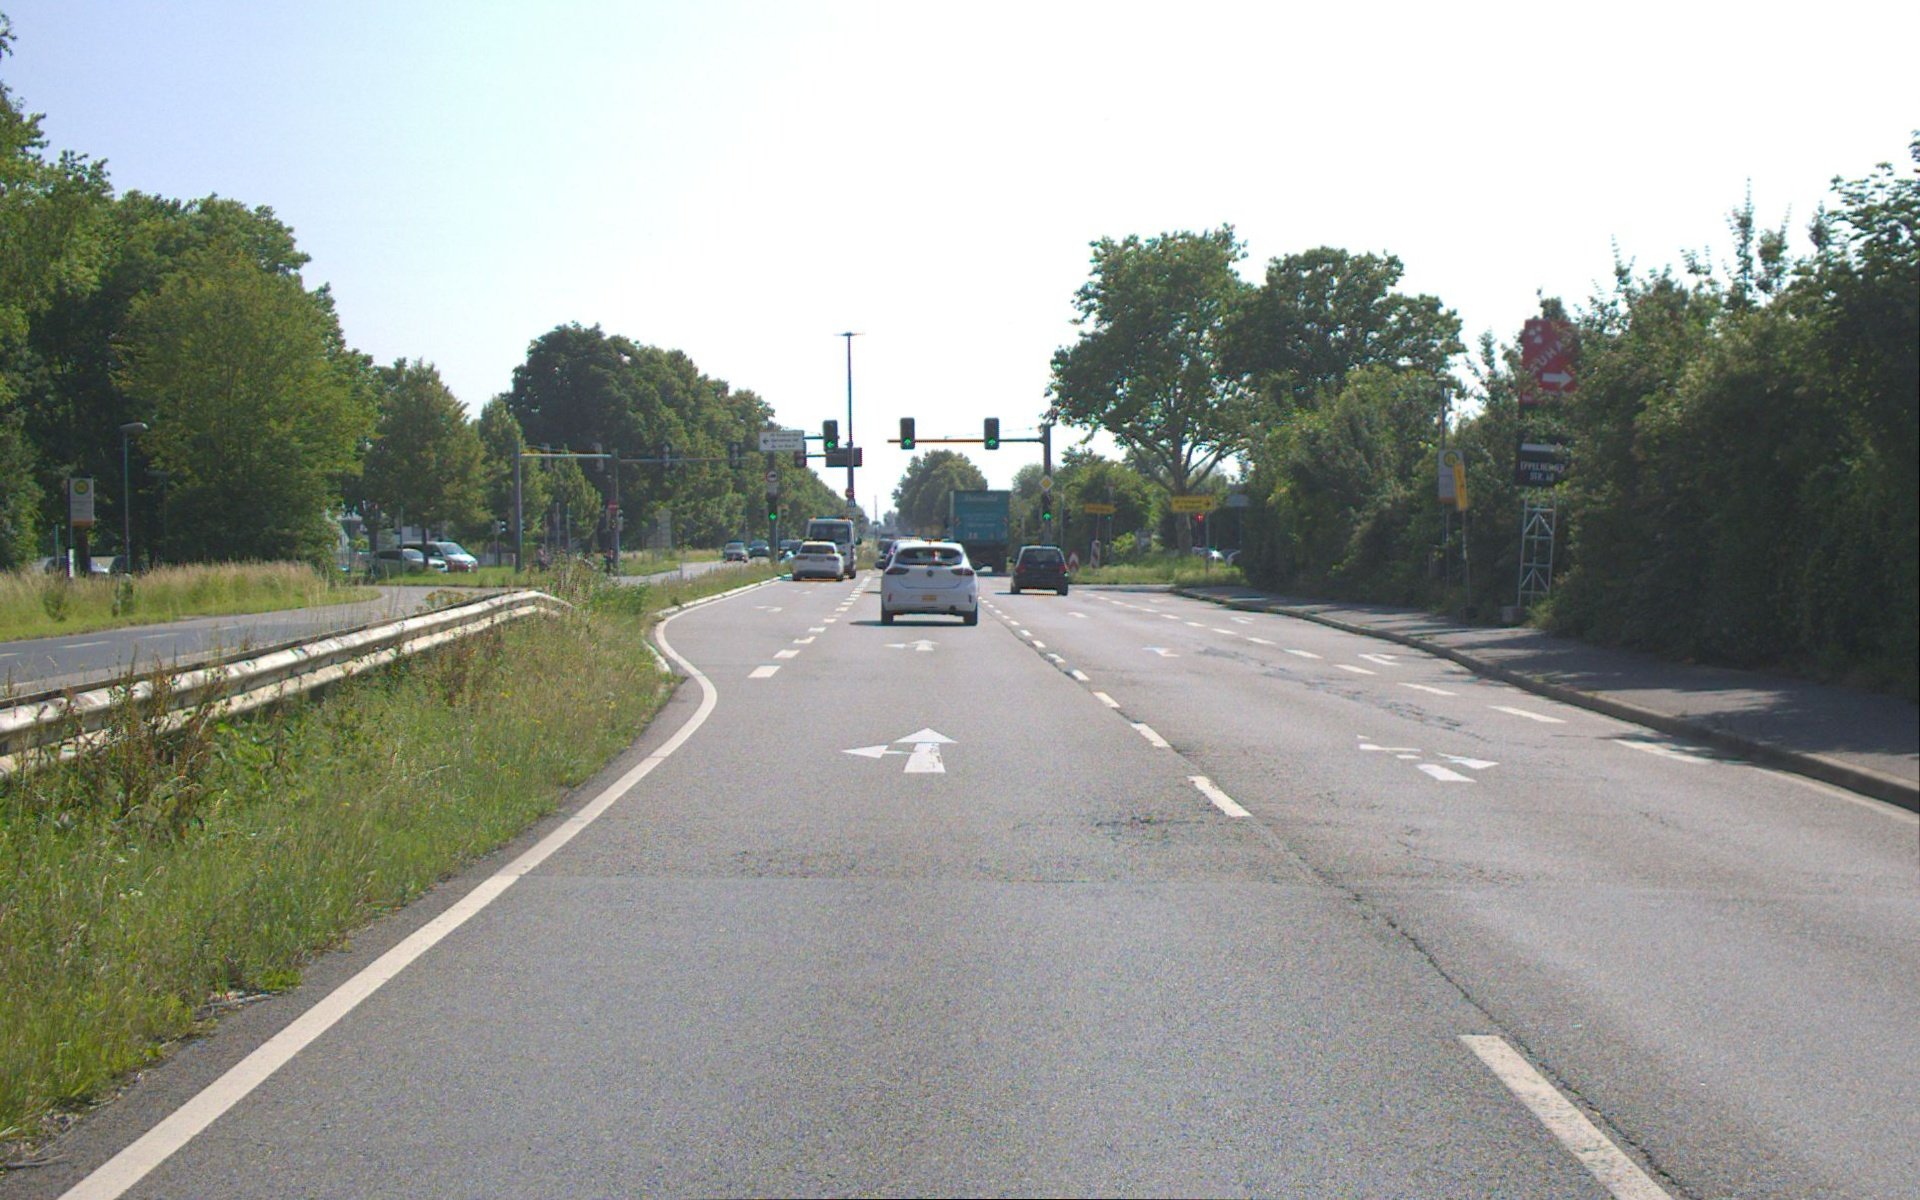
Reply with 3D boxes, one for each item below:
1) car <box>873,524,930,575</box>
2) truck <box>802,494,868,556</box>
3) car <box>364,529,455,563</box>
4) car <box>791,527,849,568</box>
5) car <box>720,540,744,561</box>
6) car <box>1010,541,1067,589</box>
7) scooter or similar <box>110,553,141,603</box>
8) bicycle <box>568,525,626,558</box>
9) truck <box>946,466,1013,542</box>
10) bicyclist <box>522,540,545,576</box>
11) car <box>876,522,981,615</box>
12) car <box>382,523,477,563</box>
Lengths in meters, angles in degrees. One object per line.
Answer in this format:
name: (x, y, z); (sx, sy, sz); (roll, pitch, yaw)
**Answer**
car: (-1.680, -1.440, 98.569); (1.572, 1.409, 3.278); (2, 1, -1)
truck: (-4.936, -3.000, 136.407); (2.373, 2.380, 6.041); (1, 2, 0)
car: (-27.375, -2.677, 170.987); (4.262, 1.600, 2.001); (0, 2, 35)
car: (-5.165, -1.945, 127.554); (1.812, 1.459, 4.971); (1, 1, 1)
car: (-16.278, -3.522, 245.673); (1.485, 1.409, 3.762); (-3, 1, -1)
car: (2.302, -1.033, 101.916); (1.572, 1.409, 3.278); (0, 1, -1)
scooter or similar: (-19.935, -0.534, 82.140); (0.368, 1.182, 1.341); (-2, 1, -1)
bicycle: (-18.880, -3.023, 178.645); (2.796, 1.664, 1.134); (0, 1, 27)
truck: (0.865, -4.494, 160.559); (2.891, 3.417, 9.170); (-1, 1, -1)
bicyclist: (-18.322, -1.812, 147.816); (0.847, 1.512, 0.747); (0, 1, 5)
car: (-0.545, -0.581, 61.142); (1.798, 1.547, 4.000); (1, 2, 0)
car: (-26.928, -2.908, 174.429); (4.649, 1.943, 1.996); (0, 1, 34)
